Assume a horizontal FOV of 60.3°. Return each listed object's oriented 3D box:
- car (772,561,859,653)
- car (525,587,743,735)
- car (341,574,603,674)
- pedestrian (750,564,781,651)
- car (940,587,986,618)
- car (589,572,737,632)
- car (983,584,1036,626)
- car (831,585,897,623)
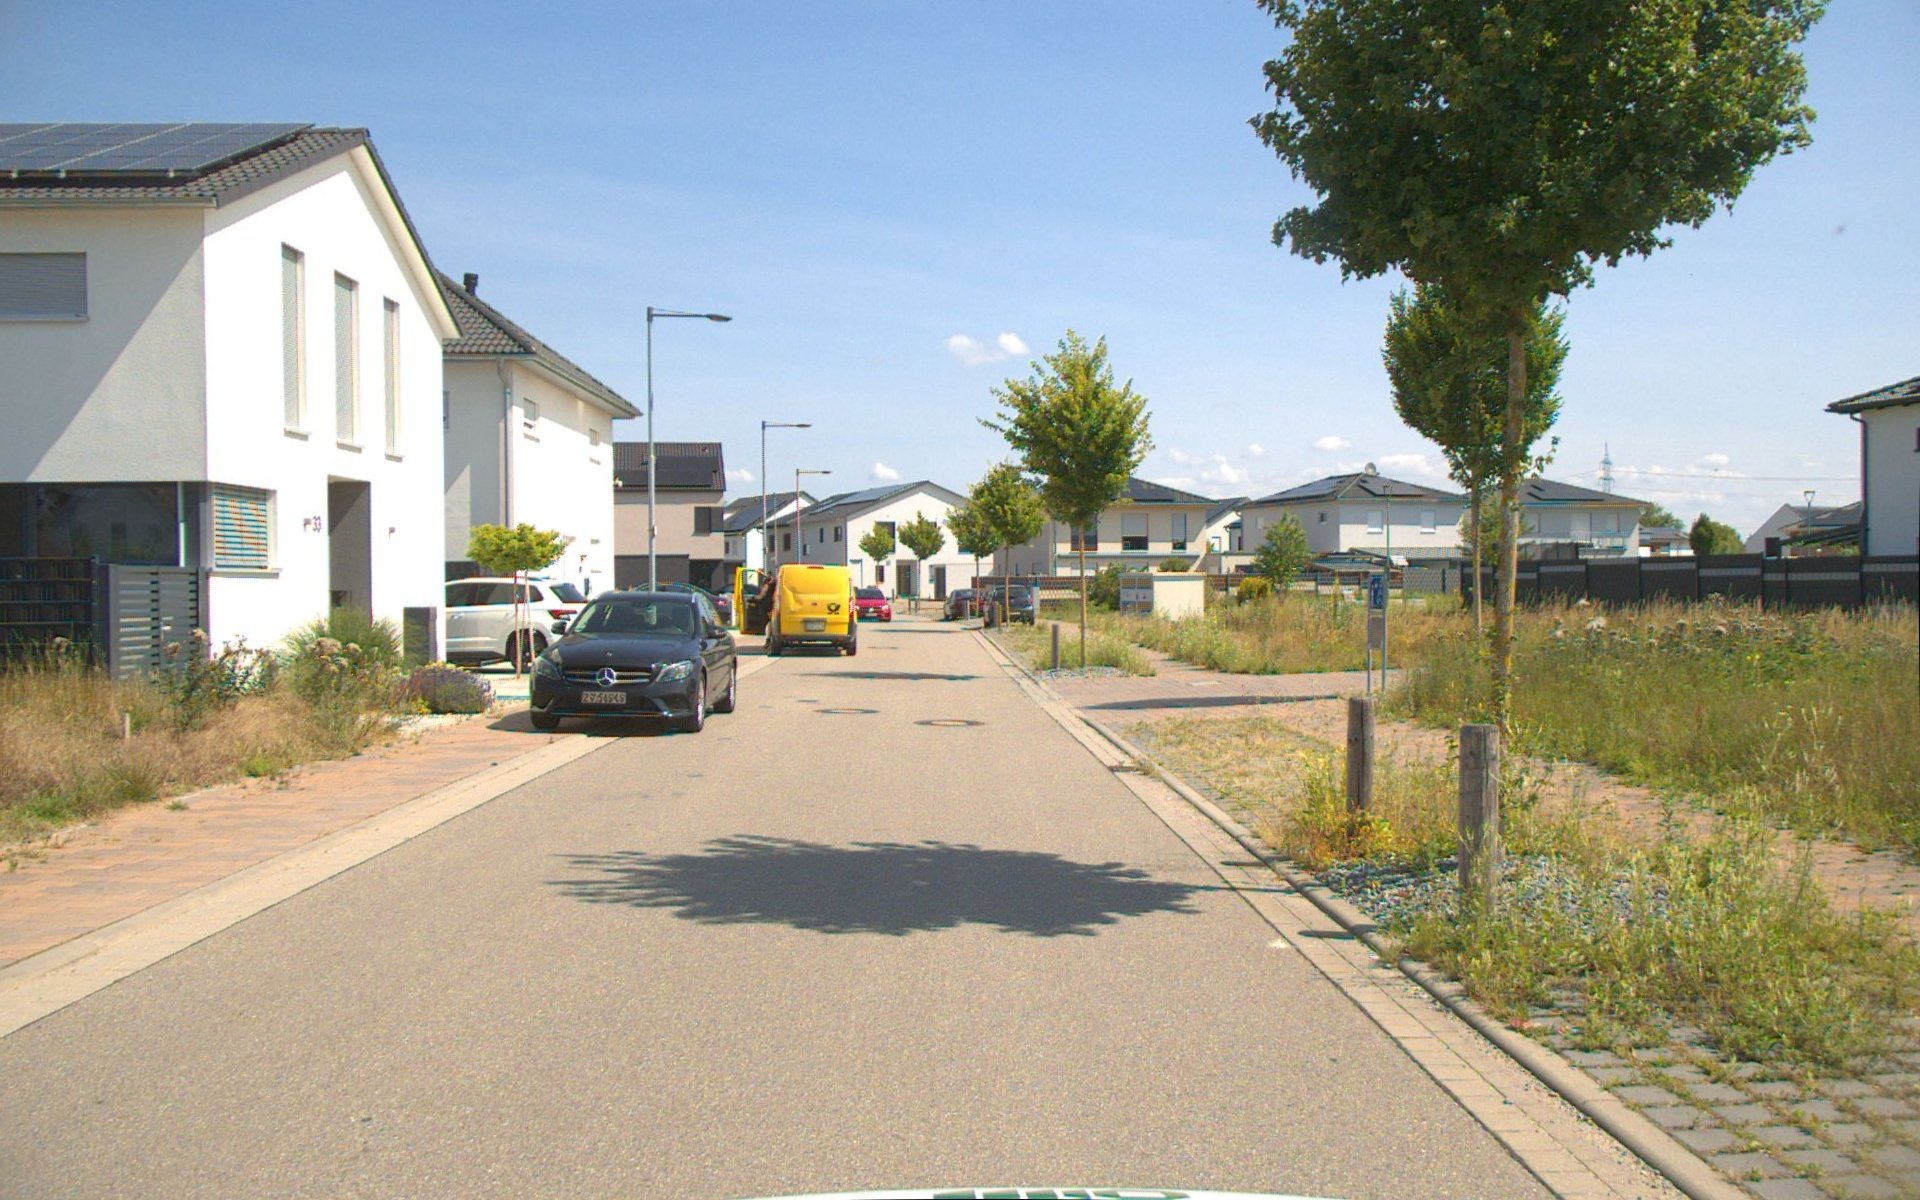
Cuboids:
[{"bbox_3d":[-3.367,0.171,38.584,1.904,2.016,4.212,-1,0,-5],"label":"car"},{"bbox_3d":[-3.548,0.599,18.692,1.710,1.429,4.158,2,1,-2],"label":"car"},{"bbox_3d":[-8.444,0.384,28.802,3.983,1.609,1.785,1,1,4],"label":"car"},{"bbox_3d":[-4.667,0.172,39.703,0.638,2.049,1.123,-1,-1,-2],"label":"pedestrian"},{"bbox_3d":[0.113,0.117,77.371,1.597,1.346,3.826,0,-2,-8],"label":"car"},{"bbox_3d":[-8.830,0.068,49.170,4.095,1.531,1.807,4,-1,-18],"label":"car"},{"bbox_3d":[1.718,0.193,58.796,1.606,1.427,3.809,-1,-1,-2],"label":"car"},{"bbox_3d":[-4.221,0.155,72.137,1.961,1.456,4.682,0,2,-15],"label":"car"}]
